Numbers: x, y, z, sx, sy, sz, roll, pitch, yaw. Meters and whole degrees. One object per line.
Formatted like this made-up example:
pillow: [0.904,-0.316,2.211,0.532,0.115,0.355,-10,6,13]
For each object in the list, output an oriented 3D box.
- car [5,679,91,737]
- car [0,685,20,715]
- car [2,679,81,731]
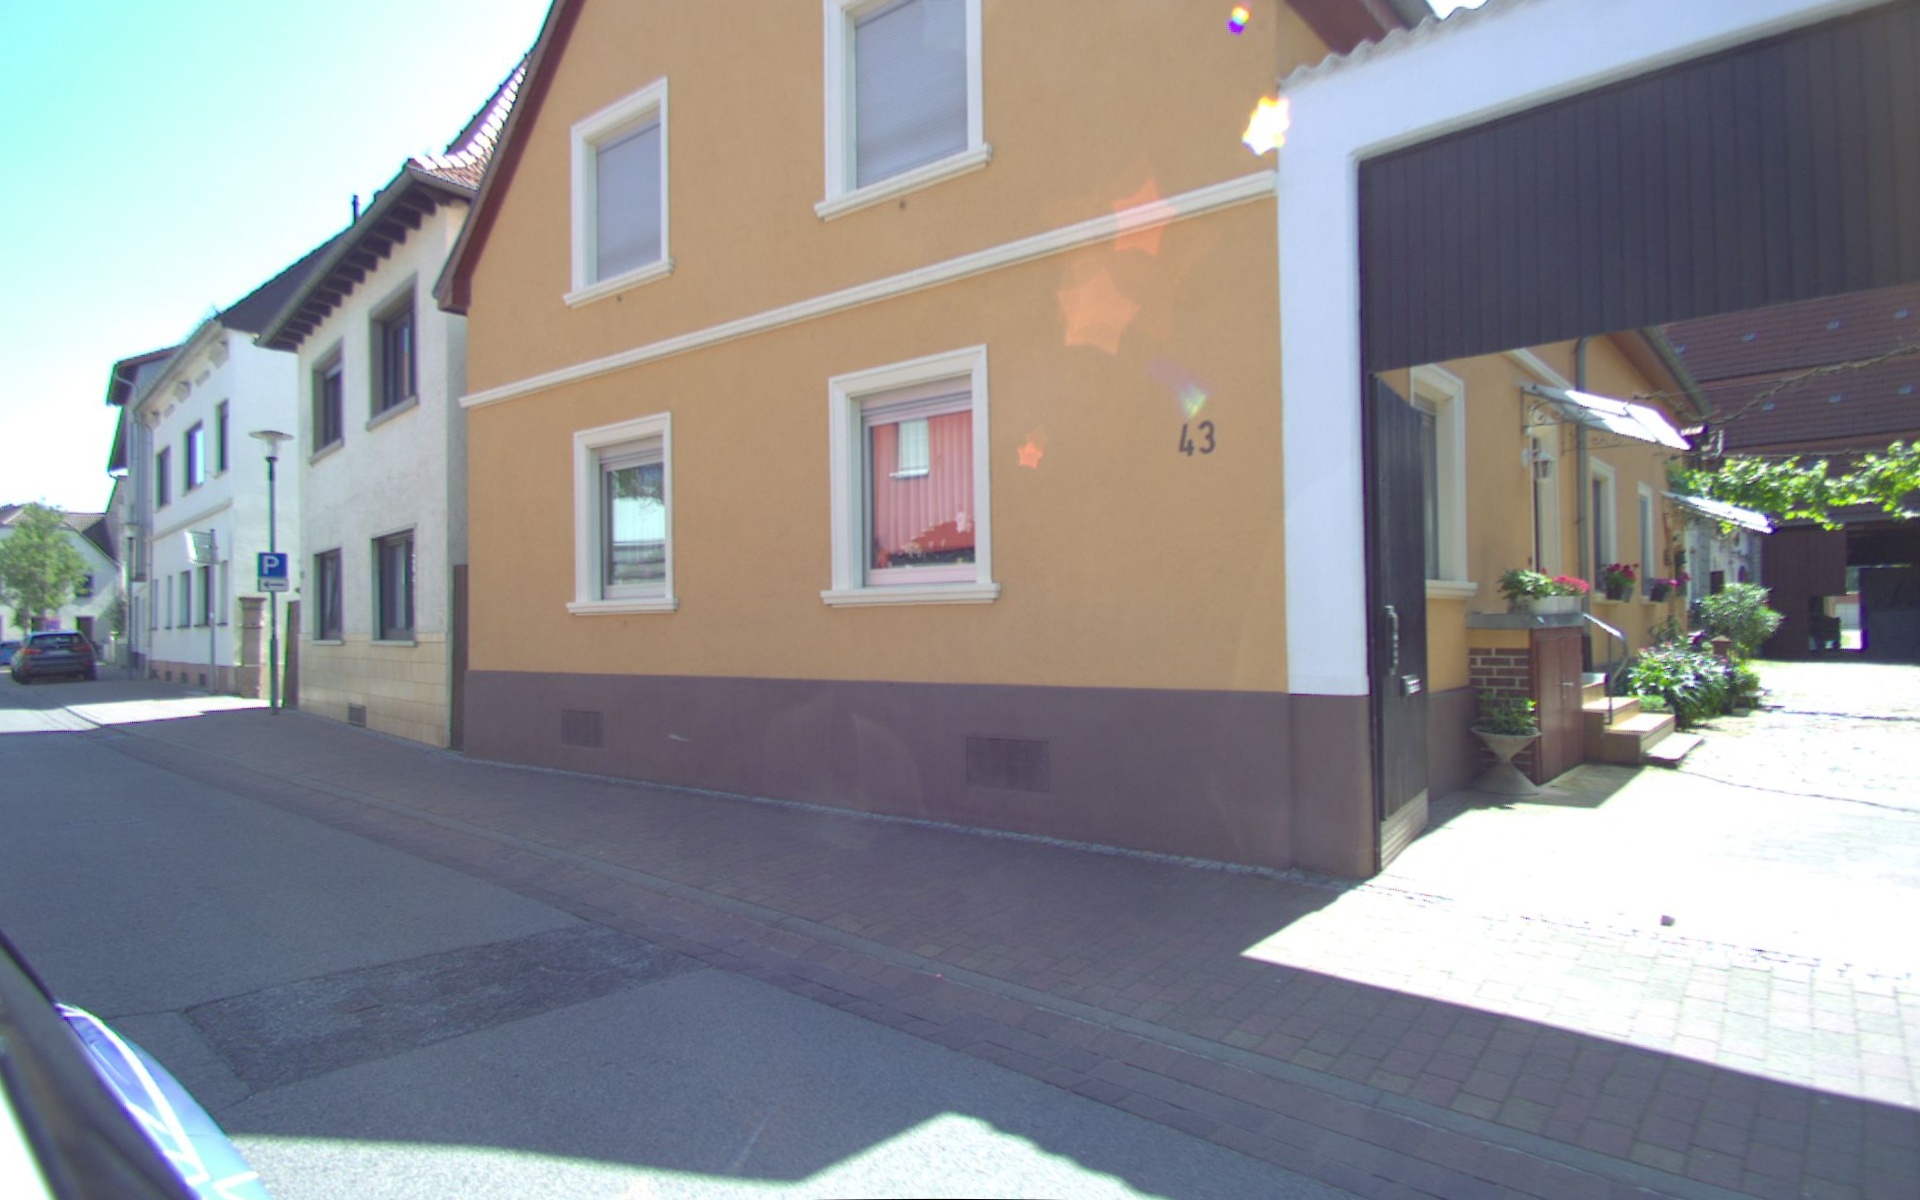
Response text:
car: [-28.435,3.302,31.515,1.837,1.642,4.050,2,-5,-43]
car: [-50.516,5.227,52.862,3.798,1.472,1.551,-3,-4,40]
car: [-31.992,3.595,35.231,1.890,1.627,3.989,2,-4,-44]
